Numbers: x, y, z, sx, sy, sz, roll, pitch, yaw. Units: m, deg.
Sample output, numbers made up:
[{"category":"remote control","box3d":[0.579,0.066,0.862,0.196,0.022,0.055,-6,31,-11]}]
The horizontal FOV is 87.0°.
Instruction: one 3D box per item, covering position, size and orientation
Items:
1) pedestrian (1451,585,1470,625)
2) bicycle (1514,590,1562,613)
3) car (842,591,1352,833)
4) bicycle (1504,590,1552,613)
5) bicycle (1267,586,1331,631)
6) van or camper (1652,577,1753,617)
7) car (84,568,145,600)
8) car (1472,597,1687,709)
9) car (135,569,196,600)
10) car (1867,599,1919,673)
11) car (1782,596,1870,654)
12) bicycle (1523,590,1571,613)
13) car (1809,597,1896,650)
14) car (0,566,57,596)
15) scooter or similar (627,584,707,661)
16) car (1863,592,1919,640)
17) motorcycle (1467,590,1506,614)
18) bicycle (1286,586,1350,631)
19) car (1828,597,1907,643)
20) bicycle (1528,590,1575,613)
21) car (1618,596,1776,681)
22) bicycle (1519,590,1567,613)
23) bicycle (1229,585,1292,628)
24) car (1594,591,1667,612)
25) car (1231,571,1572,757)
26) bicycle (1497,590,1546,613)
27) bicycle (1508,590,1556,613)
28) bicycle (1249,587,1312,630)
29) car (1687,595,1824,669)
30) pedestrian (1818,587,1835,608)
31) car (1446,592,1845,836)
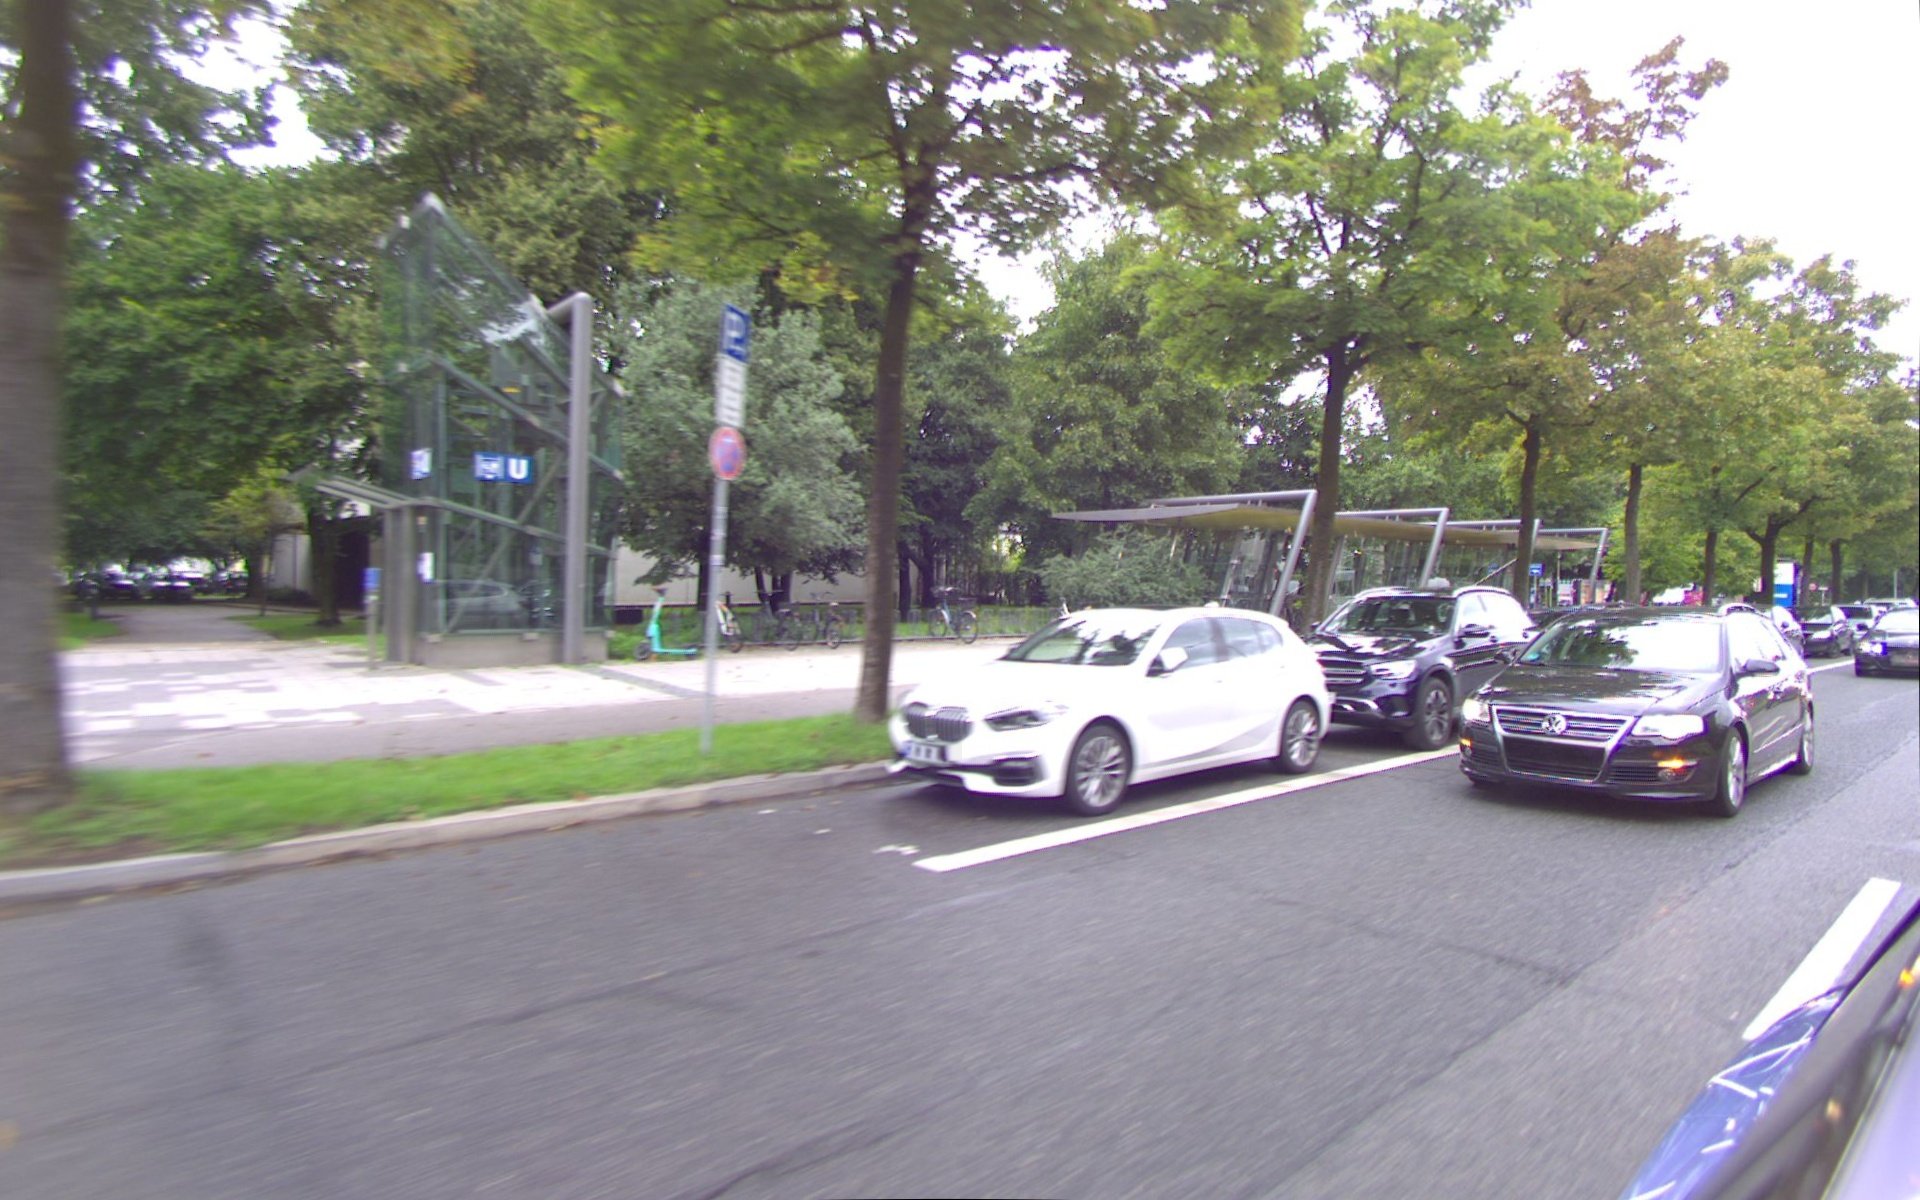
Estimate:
[{"category":"pedestrian","box3d":[19.297,0.190,39.022,0.575,1.532,0.687,1,0,31]},{"category":"bicycle","box3d":[33.779,0.080,59.151,0.520,1.171,2.344,1,3,-40]},{"category":"car","box3d":[1.330,0.674,8.255,4.405,1.452,1.656,0,1,-42]},{"category":"bicycle","box3d":[32.704,0.079,58.272,0.520,1.171,2.344,1,3,-40]},{"category":"bicycle","box3d":[10.359,0.249,30.882,2.506,1.296,0.646,0,1,-41]},{"category":"van or camper","box3d":[45.121,-0.184,61.489,6.069,2.325,2.153,0,1,-23]},{"category":"car","box3d":[-45.127,-0.856,53.984,4.441,1.614,1.969,2,1,43]},{"category":"car","box3d":[9.489,0.693,15.362,4.230,1.457,1.636,0,1,-42]},{"category":"car","box3d":[-43.699,-0.851,55.663,4.441,1.614,1.969,2,1,43]},{"category":"car","box3d":[20.656,0.717,21.248,4.589,1.447,1.818,0,0,-41]},{"category":"car","box3d":[24.738,0.668,28.875,4.023,1.554,1.543,0,0,-44]},{"category":"bicycle","box3d":[34.692,0.081,59.863,0.520,1.171,2.344,1,3,-40]},{"category":"car","box3d":[28.378,0.693,32.139,4.326,1.553,1.722,0,1,-44]},{"category":"car","box3d":[-51.806,-1.072,56.260,4.441,1.614,1.969,2,1,43]},{"category":"scooter or similar","box3d":[-4.890,0.356,16.906,1.214,1.248,0.421,0,0,-38]},{"category":"car","box3d":[36.325,0.575,38.924,4.819,1.746,1.750,1,0,-41]},{"category":"motorcycle","box3d":[26.943,0.105,51.827,1.775,1.192,0.660,1,1,-15]},{"category":"bicycle","box3d":[10.759,0.252,30.340,2.506,1.296,0.646,0,1,-41]},{"category":"car","box3d":[32.042,0.666,35.687,4.429,1.527,1.703,0,-1,-44]},{"category":"bicycle","box3d":[35.177,0.081,60.190,0.520,1.171,2.344,1,3,-40]},{"category":"car","box3d":[14.529,0.683,19.877,4.006,1.472,1.637,0,1,-41]},{"category":"bicycle","box3d":[34.248,0.080,59.488,0.520,1.171,2.344,1,3,-40]},{"category":"bicycle","box3d":[9.493,0.204,31.901,2.506,1.296,0.646,0,1,-41]},{"category":"car","box3d":[50.988,0.103,77.016,1.856,1.516,4.304,0,1,-43]},{"category":"car","box3d":[5.117,0.557,11.406,4.516,1.696,1.789,0,1,-42]},{"category":"bicycle","box3d":[31.937,0.078,57.570,0.520,1.171,2.344,1,3,-40]},{"category":"bicycle","box3d":[33.192,0.079,58.797,0.520,1.171,2.344,1,3,-40]},{"category":"bicycle","box3d":[9.960,0.245,31.400,2.506,1.296,0.646,0,1,-41]},{"category":"car","box3d":[18.435,0.663,23.395,4.149,1.527,1.721,0,1,-41]},{"category":"pedestrian","box3d":[64.093,-0.187,74.846,0.722,1.558,0.694,0,1,-21]},{"category":"car","box3d":[5.902,0.693,8.449,4.592,1.493,1.749,0,0,-42]}]
